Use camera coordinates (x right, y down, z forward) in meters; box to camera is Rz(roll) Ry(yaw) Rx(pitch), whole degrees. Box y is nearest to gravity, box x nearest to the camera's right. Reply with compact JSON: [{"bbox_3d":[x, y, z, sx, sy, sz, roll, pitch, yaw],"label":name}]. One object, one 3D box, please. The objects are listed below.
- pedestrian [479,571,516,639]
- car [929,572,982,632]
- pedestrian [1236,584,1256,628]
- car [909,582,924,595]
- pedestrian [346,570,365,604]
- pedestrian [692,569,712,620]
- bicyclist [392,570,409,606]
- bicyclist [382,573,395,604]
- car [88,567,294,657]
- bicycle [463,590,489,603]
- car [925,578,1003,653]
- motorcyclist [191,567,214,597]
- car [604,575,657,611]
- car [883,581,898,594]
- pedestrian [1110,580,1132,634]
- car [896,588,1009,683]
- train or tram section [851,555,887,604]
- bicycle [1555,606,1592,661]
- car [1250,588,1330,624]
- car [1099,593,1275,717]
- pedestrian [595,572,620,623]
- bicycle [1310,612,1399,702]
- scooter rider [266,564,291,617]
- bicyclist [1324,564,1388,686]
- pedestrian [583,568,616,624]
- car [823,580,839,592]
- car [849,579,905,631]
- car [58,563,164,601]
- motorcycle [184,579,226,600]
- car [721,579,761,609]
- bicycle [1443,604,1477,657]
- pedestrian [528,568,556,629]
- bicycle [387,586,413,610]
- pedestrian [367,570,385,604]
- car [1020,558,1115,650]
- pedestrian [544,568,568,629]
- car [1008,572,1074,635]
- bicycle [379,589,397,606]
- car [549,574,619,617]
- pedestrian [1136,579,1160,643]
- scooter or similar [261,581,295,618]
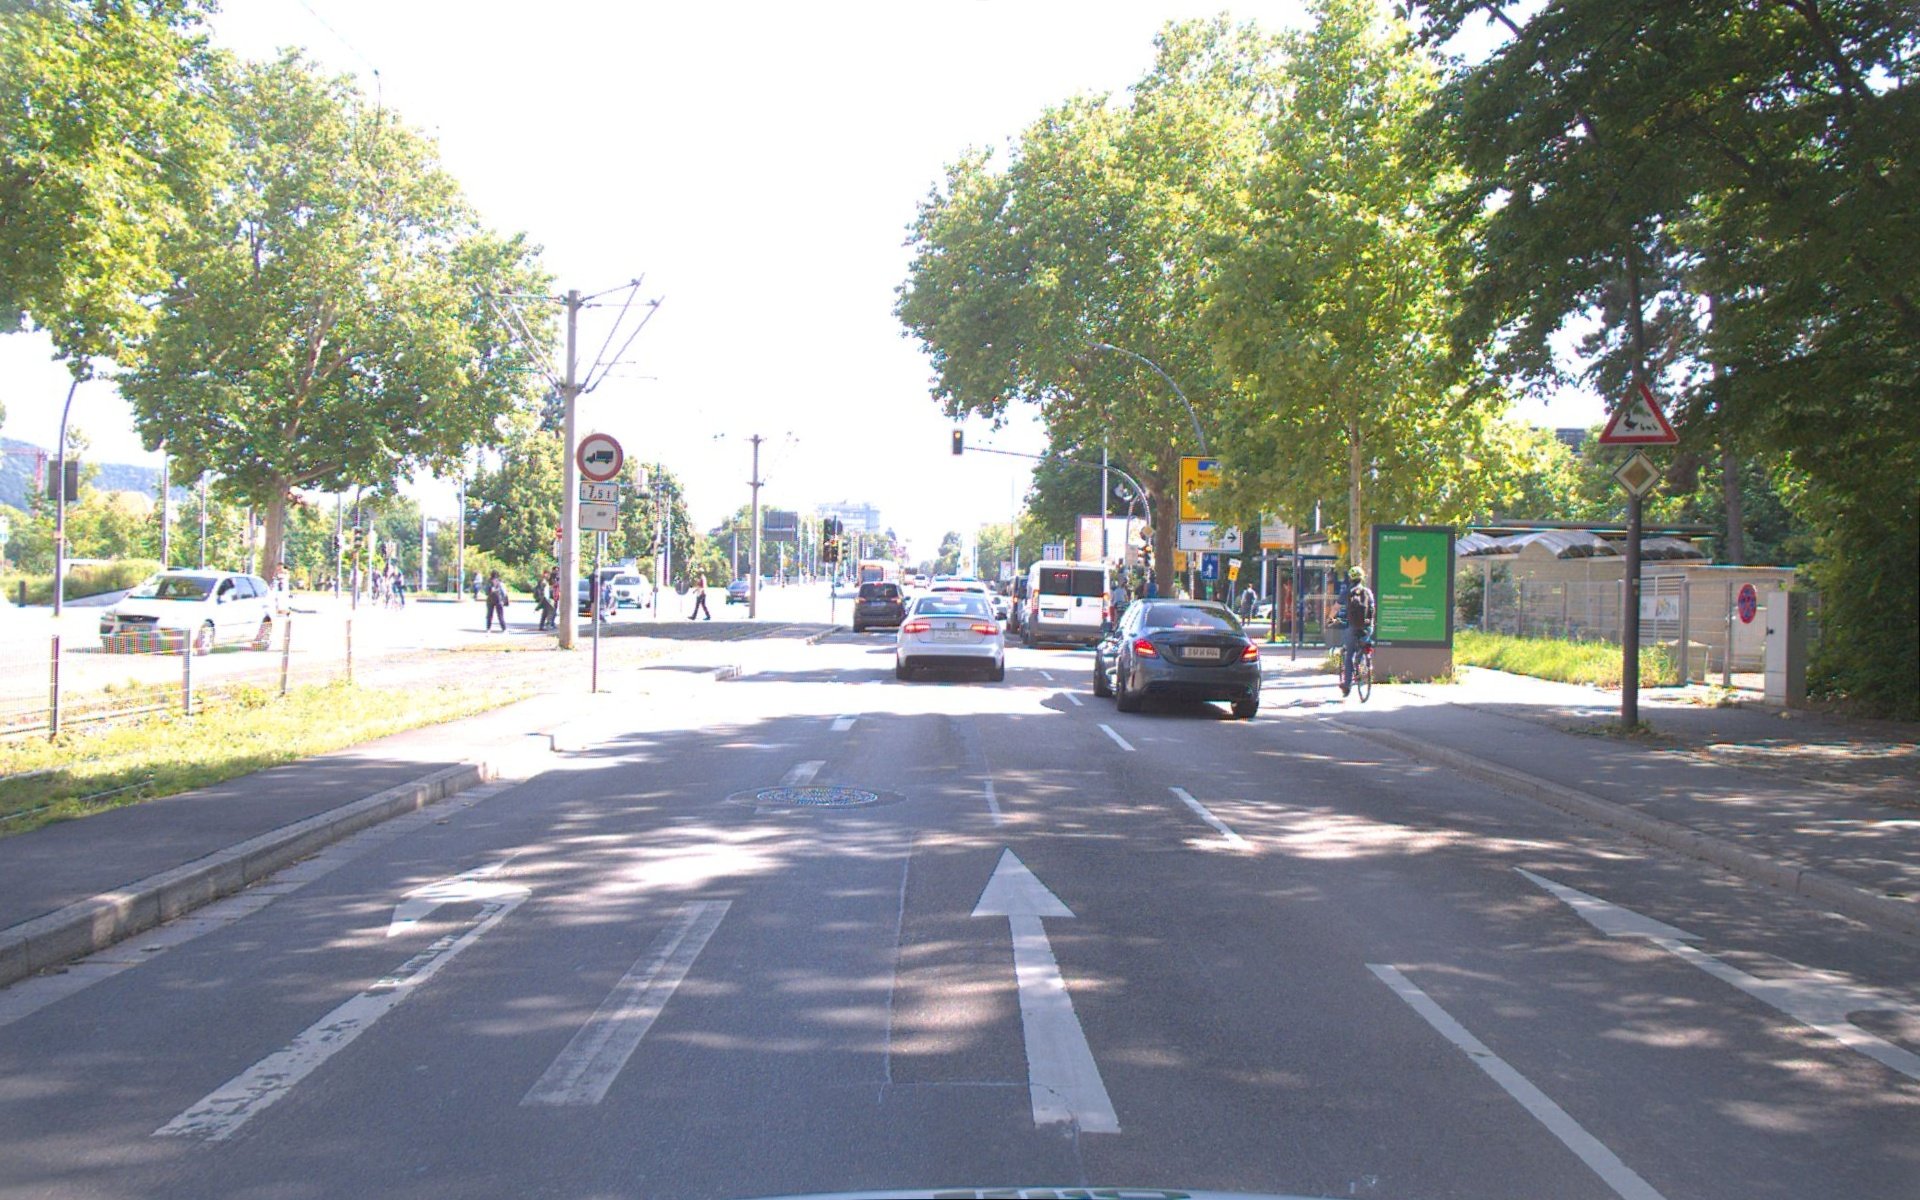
[{"bbox_3d":[-11.384,0.118,40.709,0.748,1.651,0.590,2,0,-26],"label":"pedestrian"},{"bbox_3d":[-0.166,0.046,56.450,1.694,1.935,4.000,2,0,0],"label":"car"},{"bbox_3d":[11.881,0.244,68.609,0.761,1.819,0.764,1,0,11],"label":"pedestrian"},{"bbox_3d":[-6.060,-1.598,230.445,1.832,1.637,4.001,2,0,2],"label":"car"},{"bbox_3d":[-28.059,-0.613,76.756,0.610,1.569,0.644,2,0,-2],"label":"pedestrian"},{"bbox_3d":[-9.857,-0.210,63.173,0.611,1.951,0.689,2,0,0],"label":"pedestrian"},{"bbox_3d":[-22.738,-0.471,67.202,0.470,1.441,0.592,1,0,-1],"label":"bicyclist"},{"bbox_3d":[-25.011,-0.500,72.361,0.377,1.334,0.465,2,0,-4],"label":"bicyclist"},{"bbox_3d":[-14.238,0.197,30.920,1.760,1.514,4.385,2,0,0],"label":"car"},{"bbox_3d":[-28.800,-0.212,98.448,0.482,0.744,1.619,2,0,28],"label":"bicycle"},{"bbox_3d":[0.073,0.334,38.984,1.694,1.633,3.885,2,0,0],"label":"car"},{"bbox_3d":[-34.448,-0.808,75.236,0.737,1.337,0.604,1,0,0],"label":"motorcyclist"},{"bbox_3d":[-15.933,-0.348,80.047,1.727,1.637,3.860,2,0,0],"label":"car"},{"bbox_3d":[-9.679,-1.742,230.597,1.832,1.637,4.001,2,0,2],"label":"car"},{"bbox_3d":[5.215,0.210,53.624,0.590,1.724,0.953,-1,0,0],"label":"pedestrian"},{"bbox_3d":[-0.126,0.550,27.941,1.748,1.445,3.885,2,0,0],"label":"car"},{"bbox_3d":[-7.822,-1.753,142.934,2.563,4.085,7.749,2,0,0],"label":"train or tram section"},{"bbox_3d":[13.890,0.745,37.449,0.381,1.201,1.173,2,0,0],"label":"bicycle"},{"bbox_3d":[16.778,0.298,84.128,3.700,1.701,1.793,2,0,0],"label":"car"},{"bbox_3d":[2.929,0.660,22.087,1.746,1.445,4.000,2,0,0],"label":"car"},{"bbox_3d":[-11.500,-0.080,53.960,0.526,1.626,0.578,2,0,18],"label":"pedestrian"},{"bbox_3d":[5.608,0.787,23.640,0.700,1.168,2.178,-1,1,-1],"label":"bicycle"},{"bbox_3d":[-21.665,-0.315,52.574,0.496,1.660,0.566,2,0,0],"label":"scooter rider"},{"bbox_3d":[5.604,0.346,23.456,0.621,1.677,0.979,-1,0,-1],"label":"bicyclist"},{"bbox_3d":[-11.607,-0.141,53.242,0.758,1.764,0.755,2,0,8],"label":"pedestrian"},{"bbox_3d":[-17.811,-1.919,229.076,1.953,1.670,3.999,2,0,-2],"label":"car"},{"bbox_3d":[-2.799,0.166,56.415,1.694,1.659,4.000,2,0,0],"label":"car"},{"bbox_3d":[-37.761,-0.803,73.596,3.769,1.576,1.769,2,0,0],"label":"car"},{"bbox_3d":[-34.329,-0.459,75.231,1.610,0.906,0.650,2,0,0],"label":"motorcycle"},{"bbox_3d":[-13.601,-0.393,102.925,1.953,1.764,4.000,2,0,0],"label":"car"},{"bbox_3d":[11.530,0.695,38.155,0.381,1.201,1.173,2,0,0],"label":"bicycle"},{"bbox_3d":[-11.722,-0.041,46.409,0.580,1.675,0.554,2,0,0],"label":"pedestrian"},{"bbox_3d":[-22.752,-0.089,67.178,0.474,0.978,1.655,1,0,0],"label":"bicycle"},{"bbox_3d":[-27.084,-0.594,76.689,0.611,1.569,0.780,1,0,-11],"label":"pedestrian"},{"bbox_3d":[2.795,0.090,44.095,2.184,2.250,4.161,2,0,0],"label":"car"},{"bbox_3d":[-11.513,-0.037,47.167,0.482,1.708,0.643,2,0,0],"label":"pedestrian"},{"bbox_3d":[2.768,0.110,57.453,2.030,2.034,4.058,2,0,0],"label":"car"},{"bbox_3d":[-25.030,-0.110,72.375,0.412,0.761,1.145,2,0,-4],"label":"bicycle"},{"bbox_3d":[-14.999,-0.187,66.117,1.833,1.637,4.000,2,0,0],"label":"car"},{"bbox_3d":[5.929,0.349,52.121,0.622,1.980,0.719,2,0,0],"label":"pedestrian"},{"bbox_3d":[-21.673,-0.025,52.546,0.536,1.132,1.248,2,0,0],"label":"scooter or similar"}]
